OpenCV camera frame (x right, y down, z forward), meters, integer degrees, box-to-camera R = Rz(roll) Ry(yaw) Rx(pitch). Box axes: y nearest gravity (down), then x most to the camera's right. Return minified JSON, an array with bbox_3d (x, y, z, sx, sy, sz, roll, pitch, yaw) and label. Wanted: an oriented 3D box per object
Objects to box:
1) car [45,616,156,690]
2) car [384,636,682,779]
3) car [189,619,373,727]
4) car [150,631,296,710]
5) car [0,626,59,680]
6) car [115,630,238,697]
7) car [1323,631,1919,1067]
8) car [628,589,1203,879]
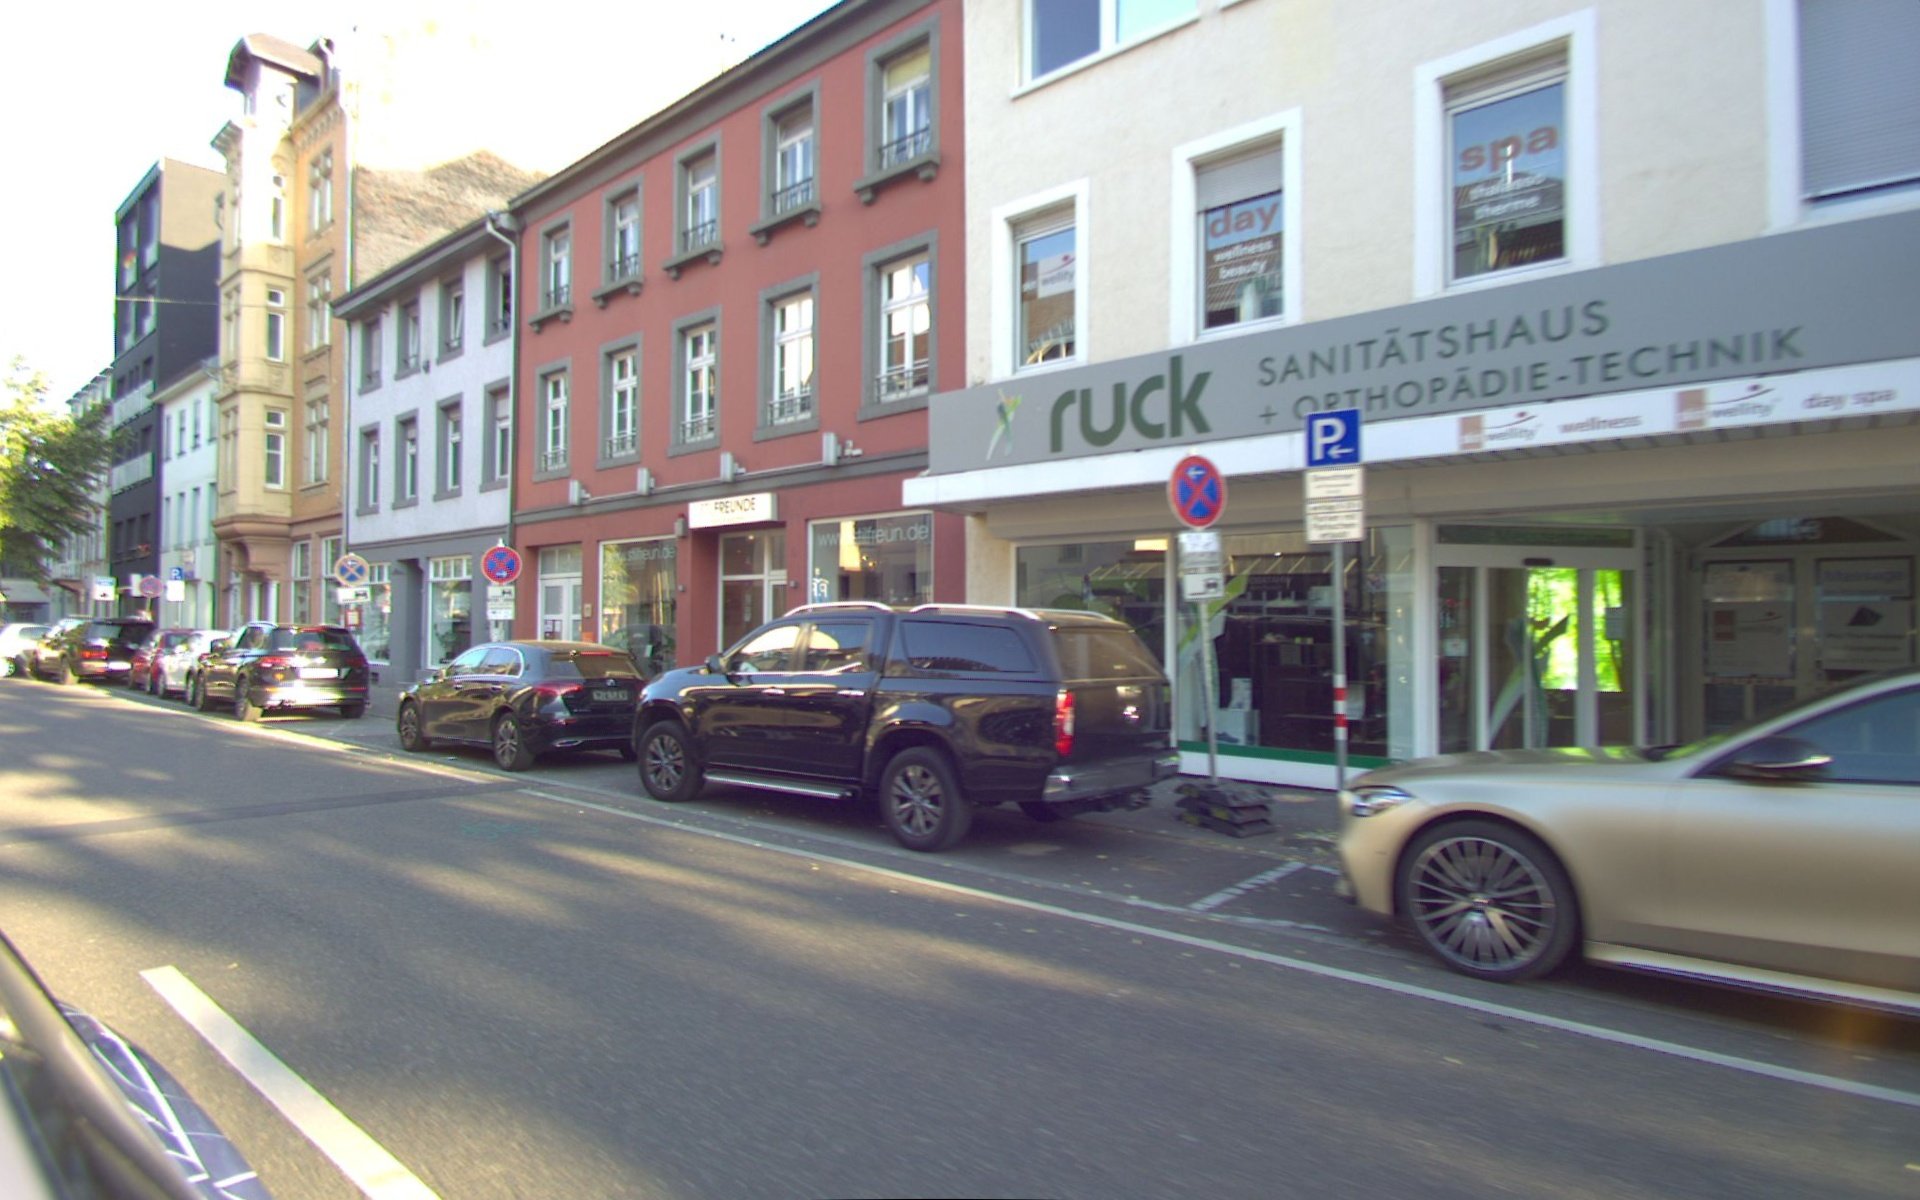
[{"bbox_3d":[-22.319,1.361,26.251,3.564,1.788,1.651,-1,-5,42],"label":"car"},{"bbox_3d":[-5.343,1.216,12.462,4.011,1.448,1.684,-1,-5,40],"label":"car"},{"bbox_3d":[-12.125,1.237,17.970,4.048,1.696,1.702,-1,-5,42],"label":"car"},{"bbox_3d":[-15.393,1.431,21.081,3.690,1.481,1.666,-1,-5,42],"label":"car"},{"bbox_3d":[-28.287,1.554,30.091,3.562,1.532,1.652,-1,-4,40],"label":"car"},{"bbox_3d":[-18.754,1.495,24.193,3.564,1.468,1.651,-1,-5,42],"label":"car"},{"bbox_3d":[4.313,0.919,3.947,5.104,1.484,1.973,-1,-5,41],"label":"car"},{"bbox_3d":[-0.611,0.911,8.506,4.933,1.793,1.703,-1,-4,39],"label":"car"}]
